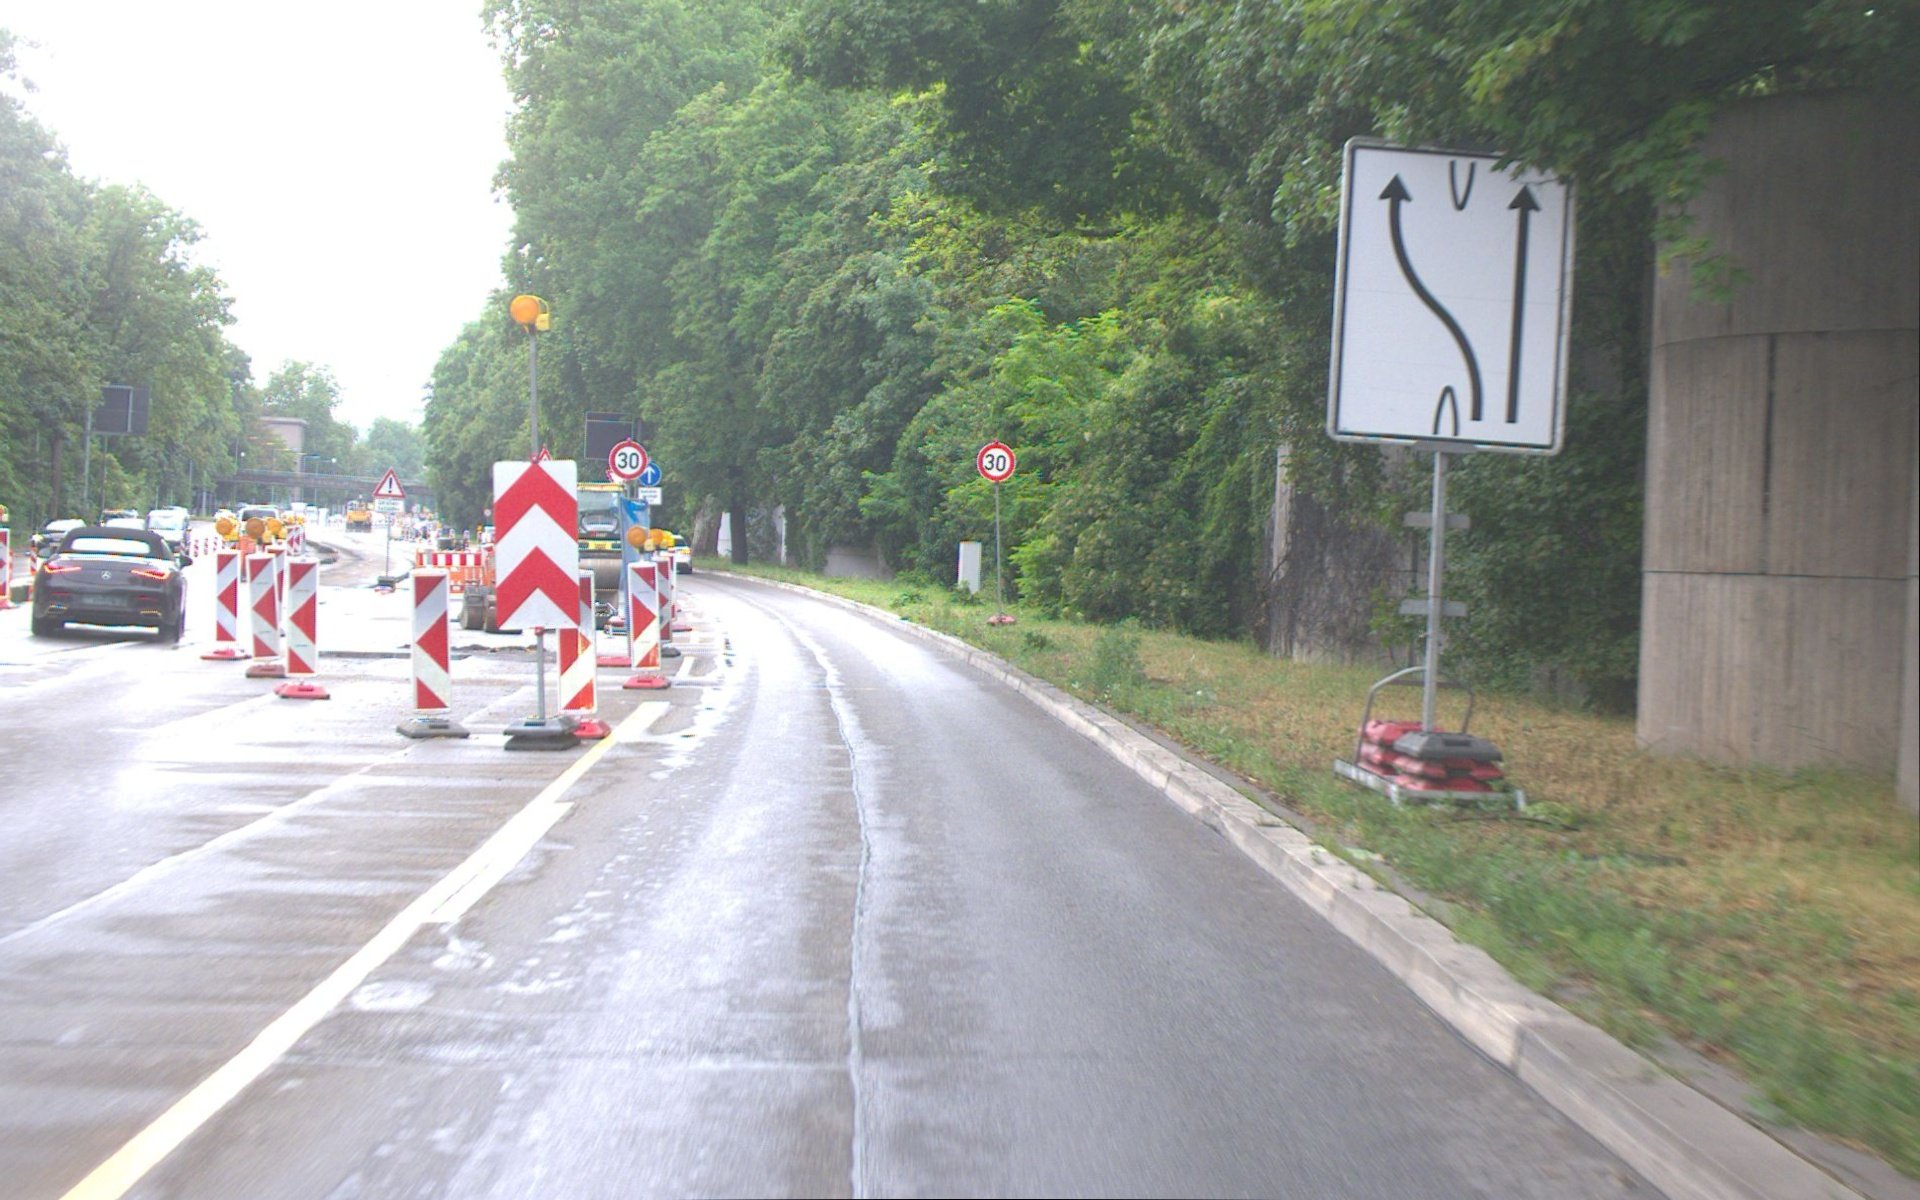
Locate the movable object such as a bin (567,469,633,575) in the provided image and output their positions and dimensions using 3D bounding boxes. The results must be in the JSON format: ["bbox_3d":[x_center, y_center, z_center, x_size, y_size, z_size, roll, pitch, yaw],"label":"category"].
[{"bbox_3d":[-10.022,-2.171,95.810,1.746,2.857,3.535,1,1,-6],"label":"movable object such as a bin"}]

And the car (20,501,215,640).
[{"bbox_3d":[-10.887,-0.418,44.645,1.861,1.486,4.002,3,3,-6],"label":"car"}]

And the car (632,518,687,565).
[{"bbox_3d":[-11.207,-2.204,128.506,1.914,1.592,4.835,2,2,-4],"label":"car"}]

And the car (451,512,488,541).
[{"bbox_3d":[-30.376,-4.580,212.959,1.875,1.612,4.001,4,2,-4],"label":"car"}]

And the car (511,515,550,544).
[{"bbox_3d":[-22.617,-3.727,180.937,1.756,1.339,4.002,3,2,-10],"label":"car"}]
